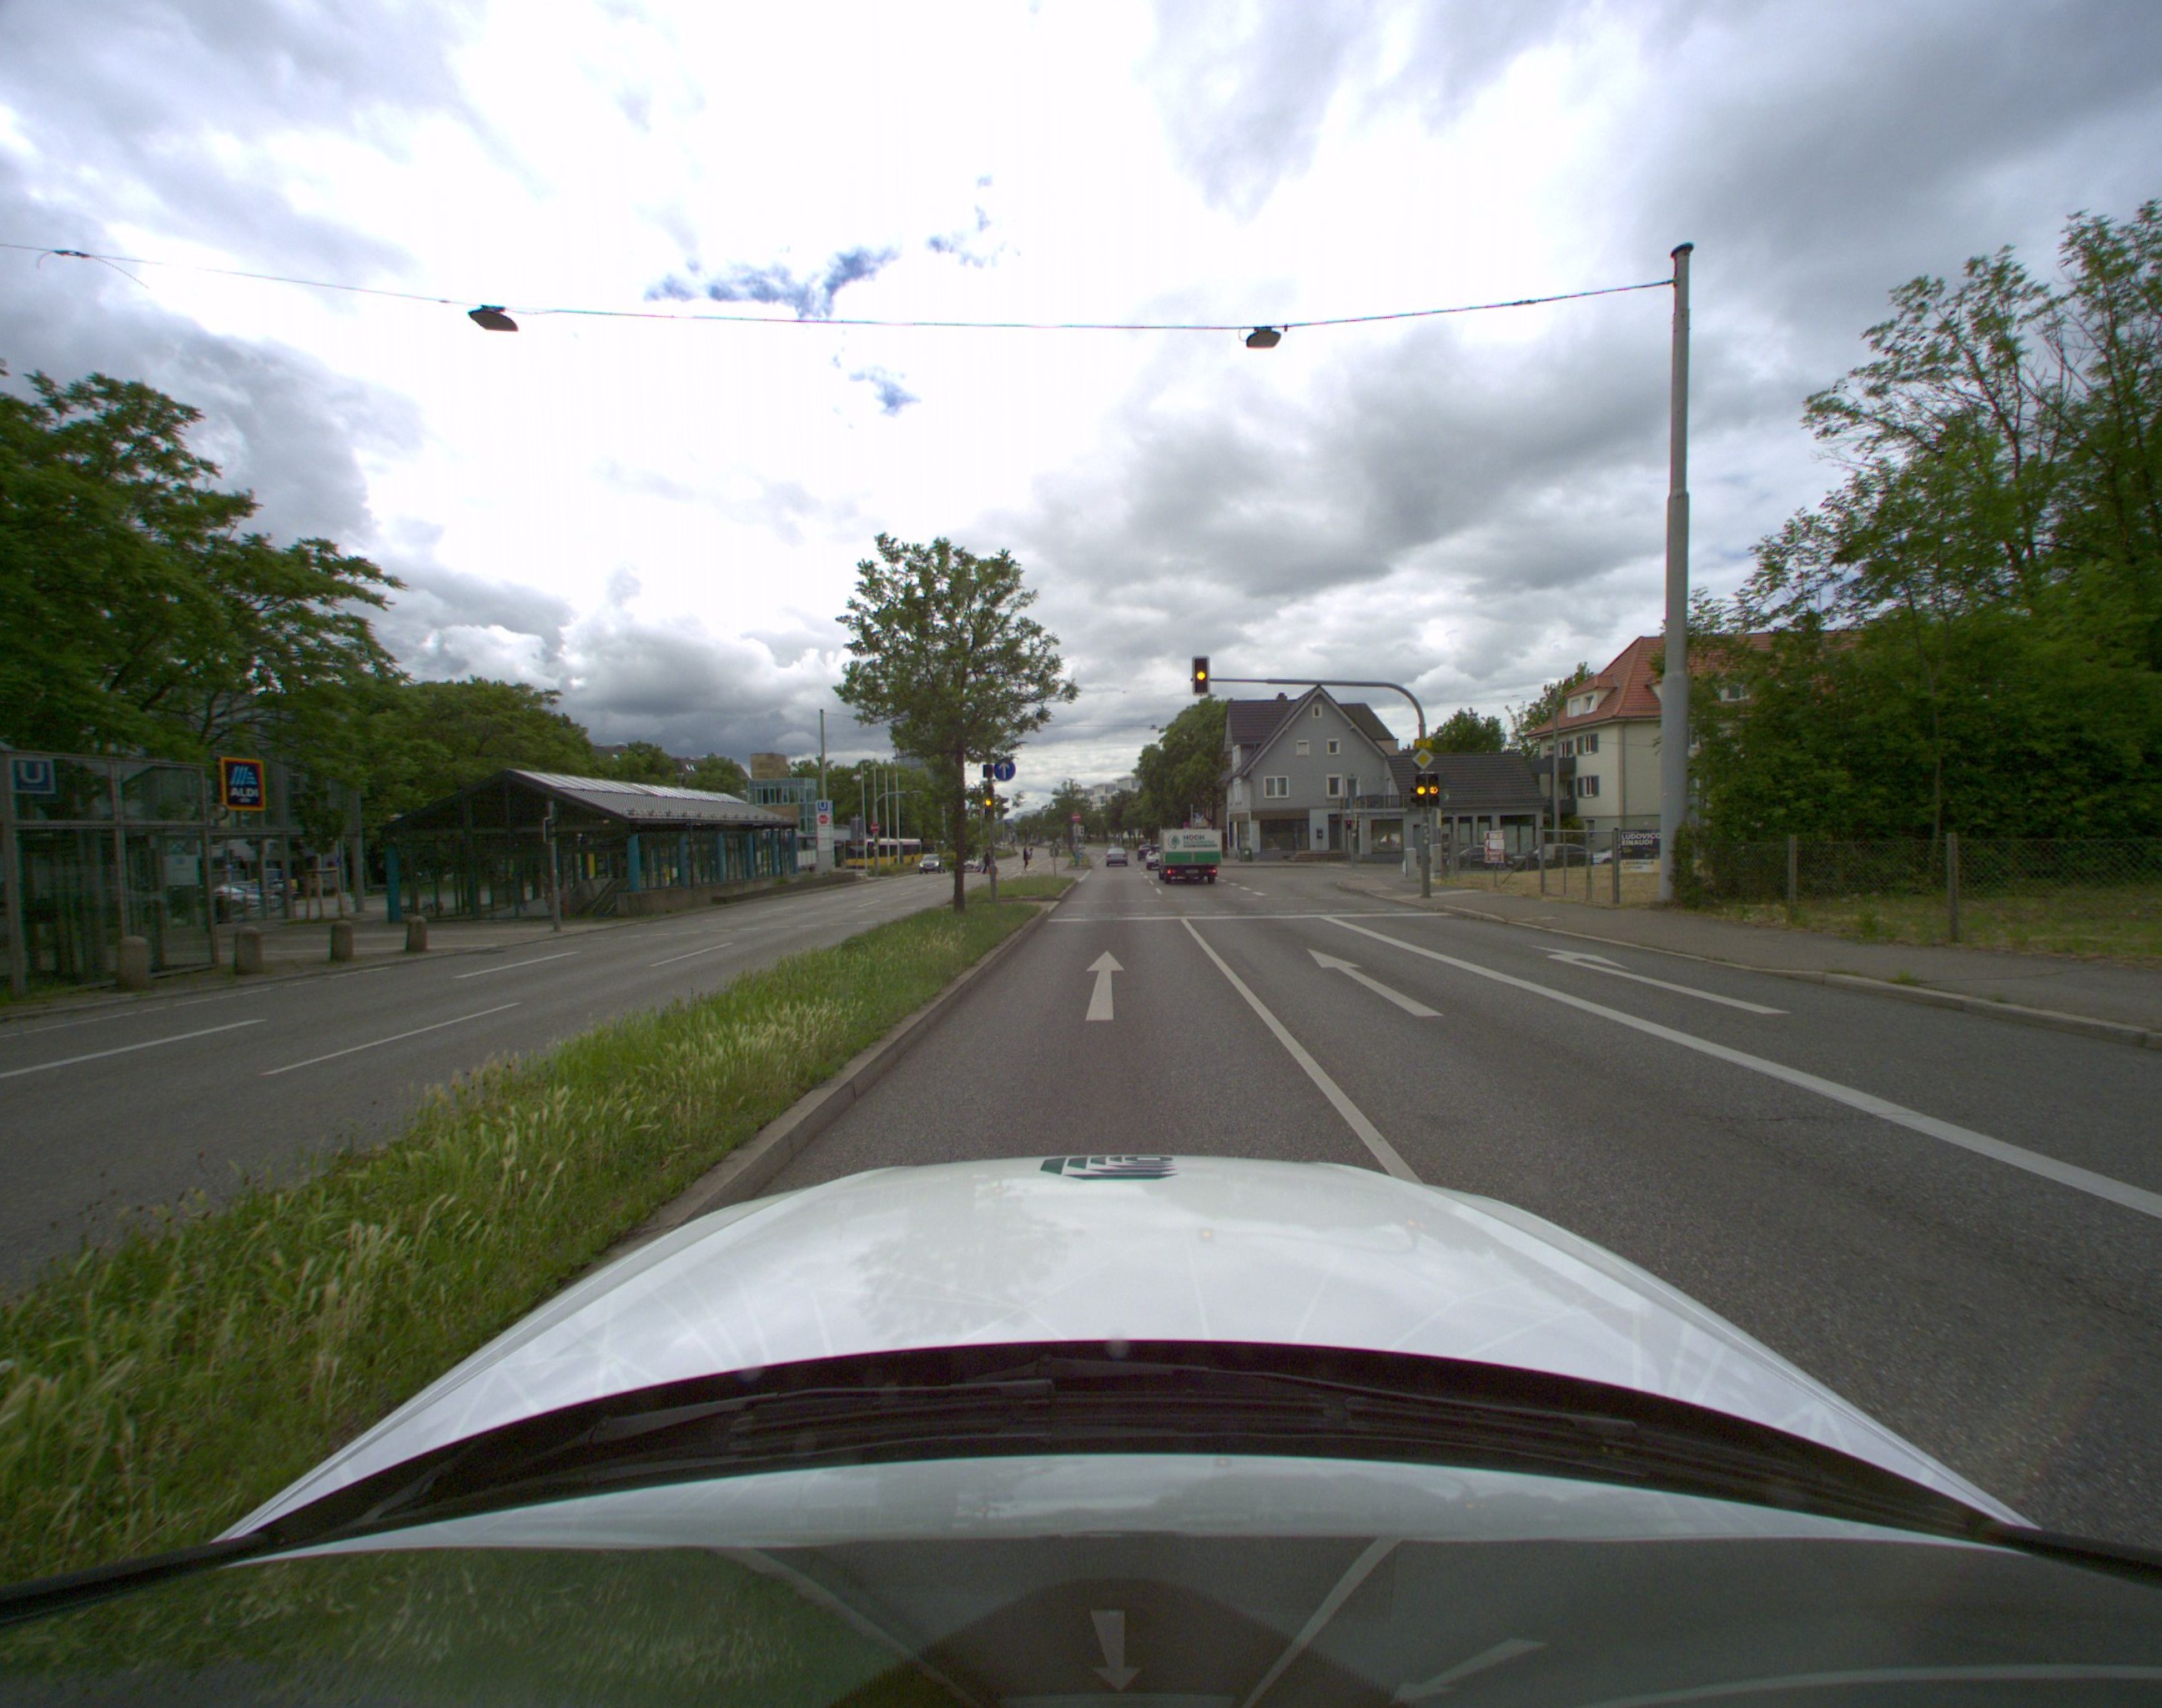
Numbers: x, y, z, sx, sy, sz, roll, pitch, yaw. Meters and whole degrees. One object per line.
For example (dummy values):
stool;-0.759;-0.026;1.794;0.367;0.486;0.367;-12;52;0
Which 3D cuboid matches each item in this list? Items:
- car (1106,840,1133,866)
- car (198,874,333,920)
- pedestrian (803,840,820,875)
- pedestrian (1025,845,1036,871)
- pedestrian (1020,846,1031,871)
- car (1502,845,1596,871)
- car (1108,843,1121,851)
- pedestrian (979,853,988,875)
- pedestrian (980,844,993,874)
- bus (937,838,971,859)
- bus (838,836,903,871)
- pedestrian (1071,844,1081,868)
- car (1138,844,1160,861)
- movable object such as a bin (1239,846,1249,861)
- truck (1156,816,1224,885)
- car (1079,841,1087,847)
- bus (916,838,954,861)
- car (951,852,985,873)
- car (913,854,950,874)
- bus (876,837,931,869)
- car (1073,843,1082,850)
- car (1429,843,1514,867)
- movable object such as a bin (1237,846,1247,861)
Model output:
car;2.953;-0.091;62.474;1.985;1.830;4.003;-1;2;2
car;-37.338;1.946;37.359;3.977;1.837;1.998;-2;0;-3
pedestrian;-16.013;0.189;48.382;0.679;2.013;0.645;-2;0;-2
pedestrian;-3.459;0.278;55.957;0.652;1.716;0.451;-2;0;-4
pedestrian;-3.867;0.315;56.743;0.744;1.716;0.582;-2;0;-4
car;25.254;0.211;44.050;4.073;1.371;1.800;0;0;1
car;6.608;-1.404;161.323;1.991;1.552;3.992;-2;0;-6
pedestrian;-6.792;0.669;56.627;0.542;1.496;0.486;-2;0;-4
pedestrian;-6.484;0.340;55.884;0.828;2.013;0.545;-2;0;-5
bus;-21.630;-0.942;139.288;2.817;3.430;10.754;-2;0;7
bus;-22.183;-0.087;86.730;2.817;3.430;10.754;-2;0;7
pedestrian;-0.373;0.123;58.590;0.582;1.716;0.545;-2;0;-4
car;6.480;-0.152;78.226;1.985;1.552;4.003;-1;1;2
movable object such as a bin;11.362;-0.055;56.702;0.601;1.059;0.590;0;0;4
truck;4.433;-0.227;34.144;2.459;2.611;6.556;-1;2;4
car;0.494;-2.515;204.662;1.988;1.519;3.999;-2;1;-1
bus;-22.913;-0.738;128.585;2.817;3.430;10.754;-2;0;7
car;-8.933;0.646;64.696;1.986;1.486;4.001;-2;0;1
car;-11.882;0.760;64.994;1.986;1.486;4.001;-2;0;1
bus;-20.960;-0.179;96.788;2.817;3.430;10.754;-2;0;7
car;-0.902;-1.839;189.725;1.988;1.519;3.999;-2;1;-1
car;22.670;0.055;47.365;4.073;1.371;1.800;0;0;1
movable object such as a bin;11.341;-0.011;57.349;0.613;1.043;0.590;-1;0;4
